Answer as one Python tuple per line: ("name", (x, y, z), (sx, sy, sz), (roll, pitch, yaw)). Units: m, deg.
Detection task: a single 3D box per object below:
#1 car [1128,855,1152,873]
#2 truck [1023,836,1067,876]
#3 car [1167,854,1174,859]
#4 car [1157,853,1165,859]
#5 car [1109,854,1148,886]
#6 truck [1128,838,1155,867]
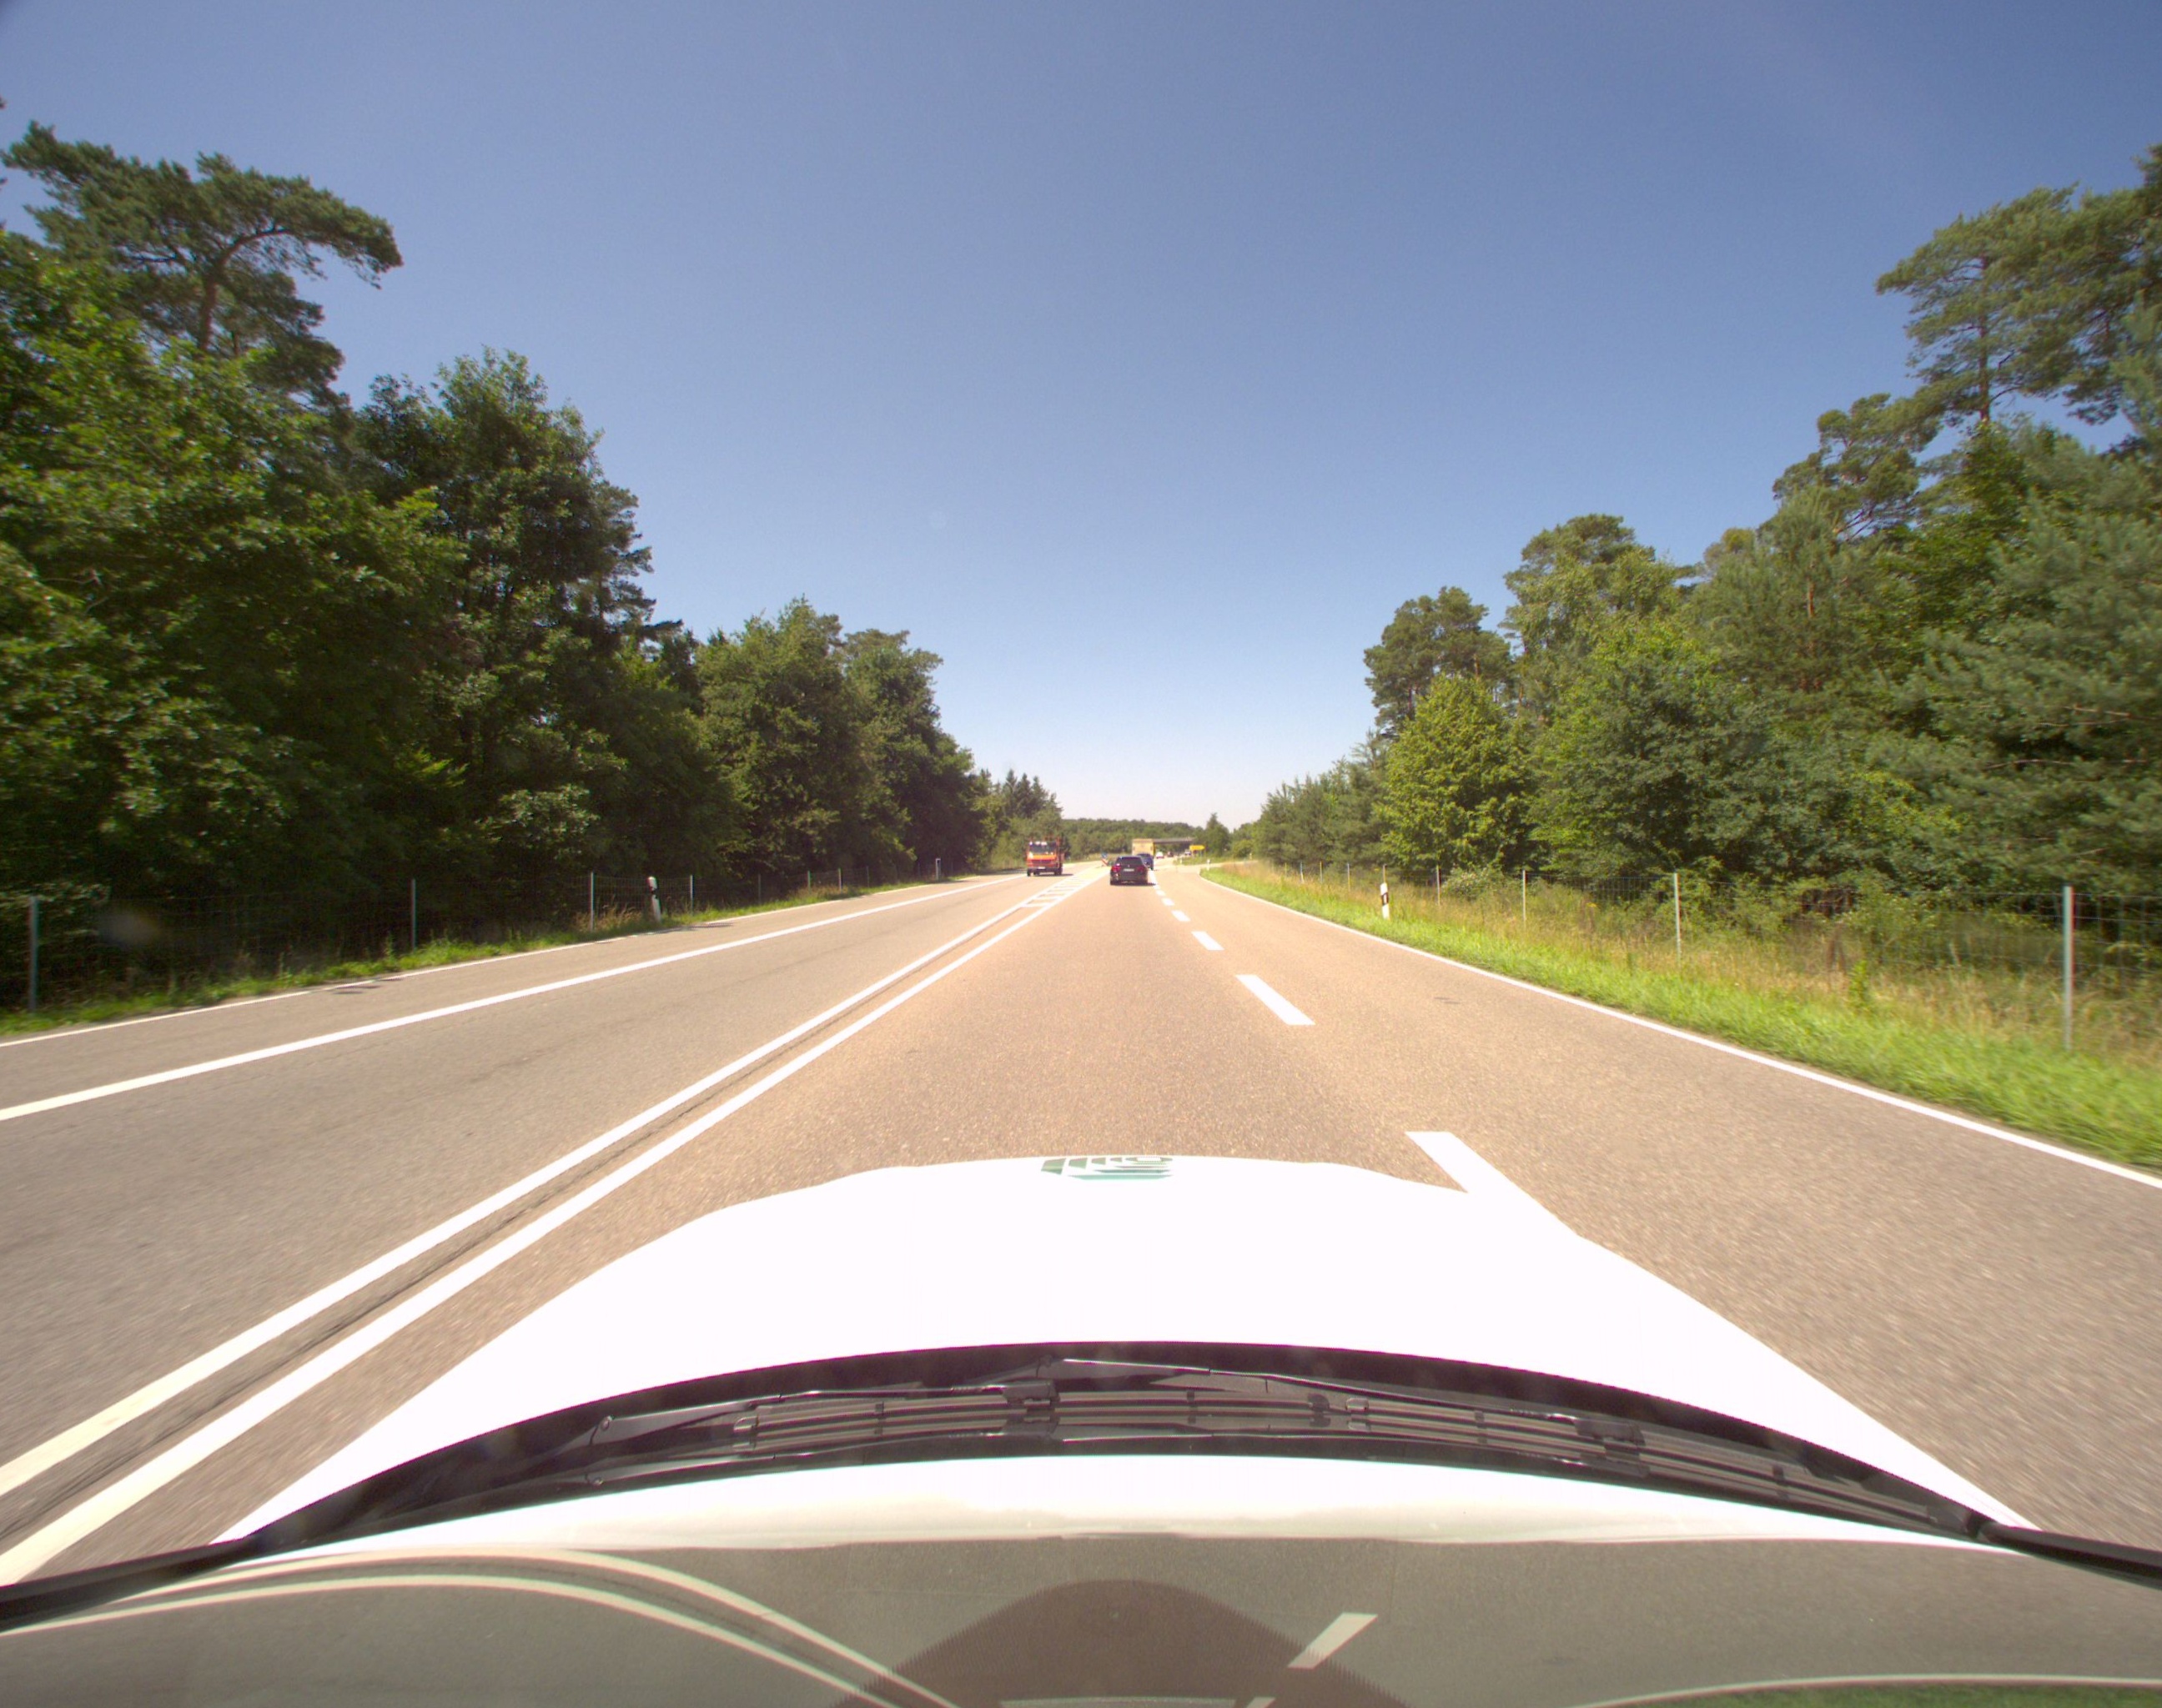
("car", (5.471, 0.872, 75.585), (1.941, 1.542, 4.000), (-2, 0, 0))
("truck", (-2.543, 0.166, 59.051), (2.387, 2.722, 6.560), (0, 0, 5))
("car", (26.694, 0.616, 242.136), (1.983, 1.420, 4.008), (0, 0, 7))
("car", (20.605, 0.461, 209.091), (1.855, 1.605, 4.003), (0, 0, 3))
("car", (2.344, 0.770, 40.796), (1.814, 1.470, 4.002), (-1, 0, 2))
("truck", (7.387, -0.238, 99.746), (2.955, 3.387, 6.439), (-1, 0, 1))
